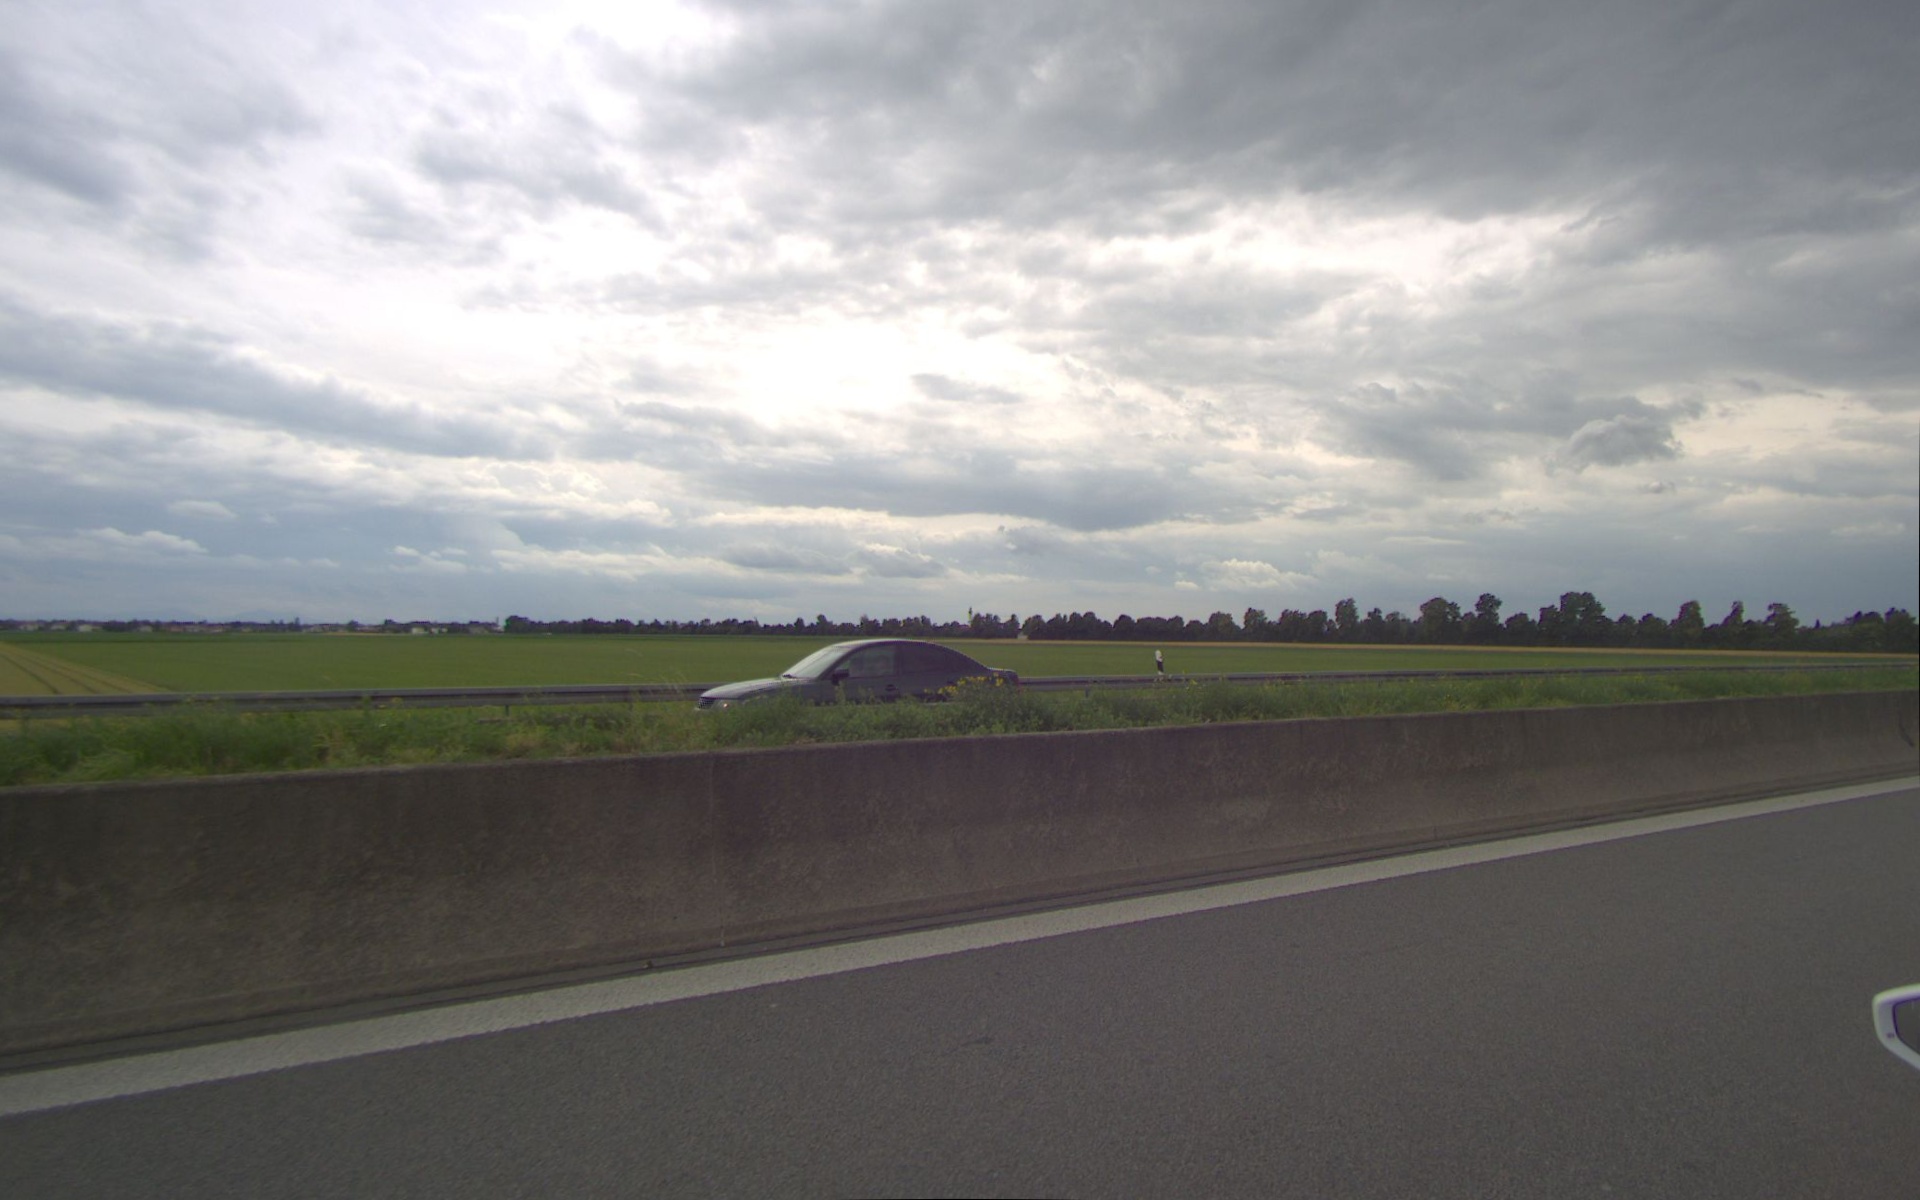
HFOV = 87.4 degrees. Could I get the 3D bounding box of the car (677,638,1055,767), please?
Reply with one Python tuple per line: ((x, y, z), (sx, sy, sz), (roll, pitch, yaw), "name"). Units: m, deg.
((-1.194, 1.283, 13.658), (4.848, 1.491, 1.781), (1, -3, -30), "car")
